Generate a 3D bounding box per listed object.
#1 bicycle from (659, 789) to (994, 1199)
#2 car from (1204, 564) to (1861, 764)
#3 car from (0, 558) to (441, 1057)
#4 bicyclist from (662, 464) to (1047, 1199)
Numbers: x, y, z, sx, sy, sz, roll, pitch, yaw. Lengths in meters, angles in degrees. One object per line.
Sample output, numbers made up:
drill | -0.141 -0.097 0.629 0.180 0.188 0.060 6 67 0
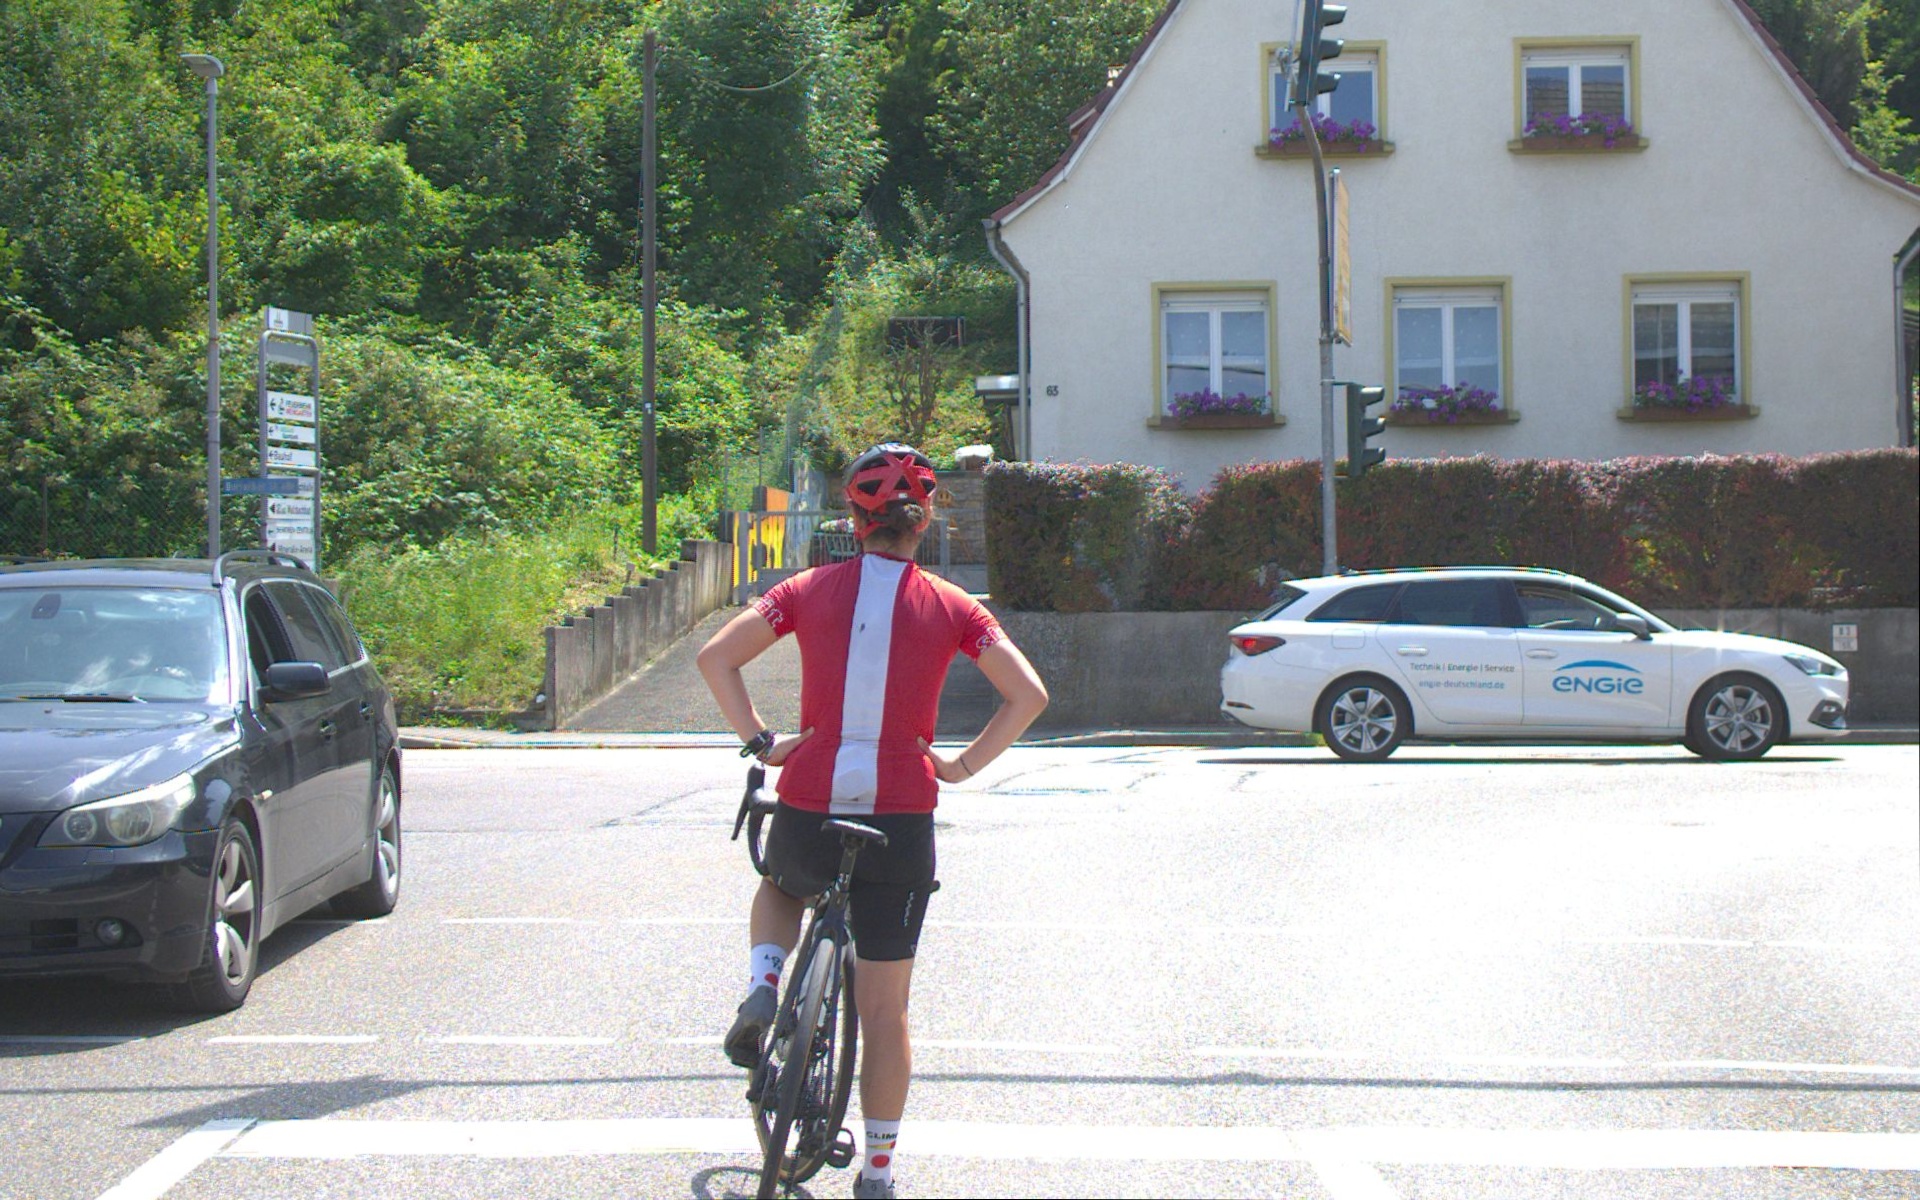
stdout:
bicycle | -0.324 0.917 7.382 0.629 0.902 1.657 1 1 -5
car | 4.197 0.481 25.706 4.664 1.422 1.927 0 -1 6
car | -3.225 0.602 12.480 1.863 1.437 4.671 -2 1 1
bicyclist | -0.251 0.553 7.428 0.760 1.659 0.869 1 1 -5
